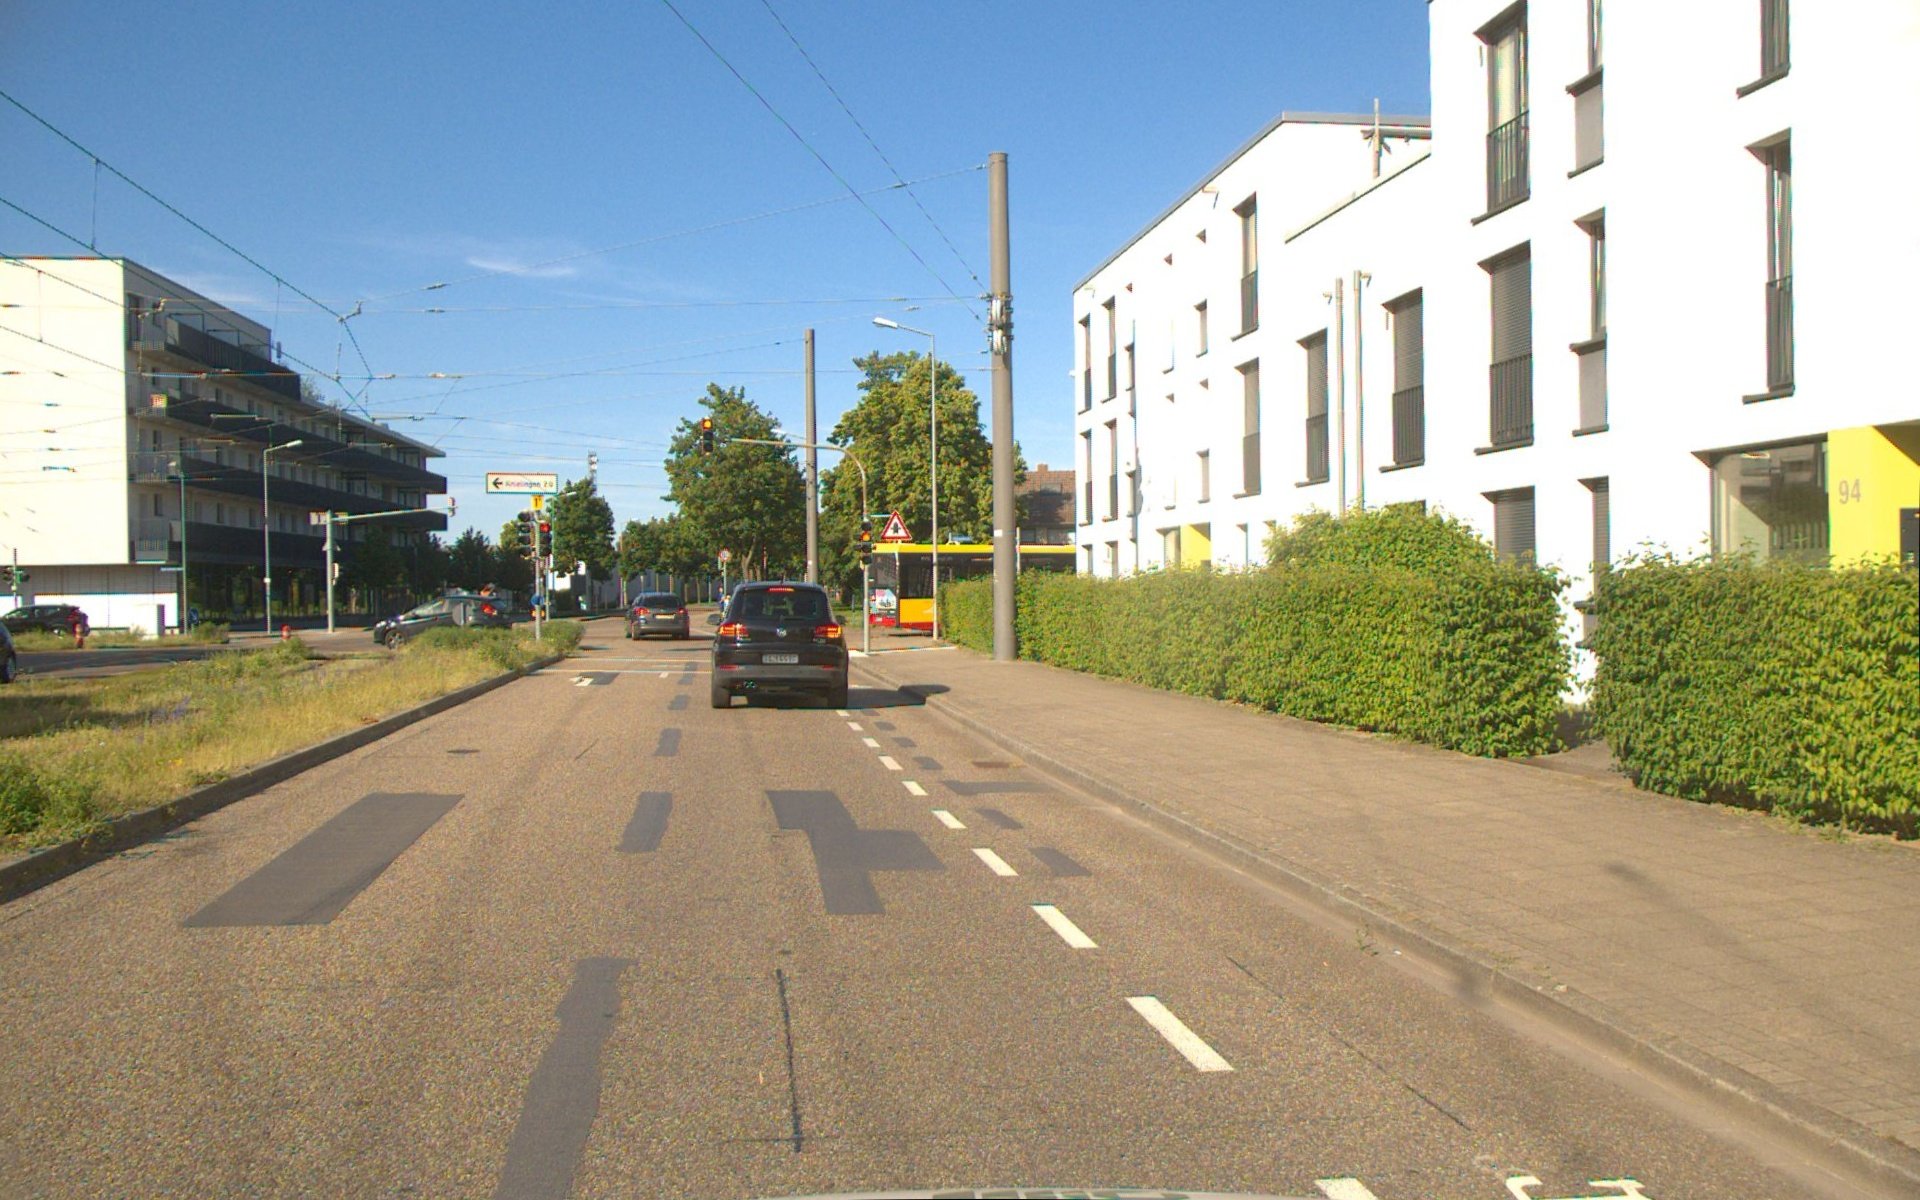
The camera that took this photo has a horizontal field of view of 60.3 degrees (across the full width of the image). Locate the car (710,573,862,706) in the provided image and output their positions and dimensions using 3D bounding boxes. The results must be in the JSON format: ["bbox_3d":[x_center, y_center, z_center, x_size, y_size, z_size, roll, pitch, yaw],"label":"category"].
[{"bbox_3d":[-2.504,0.496,23.044,1.870,1.671,3.991,1,0,-9],"label":"car"}]

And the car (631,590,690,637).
[{"bbox_3d":[-9.462,0.405,52.469,1.719,1.411,3.991,1,0,-9],"label":"car"}]

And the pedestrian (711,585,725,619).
[{"bbox_3d":[-11.819,0.088,80.891,0.591,1.668,0.528,1,0,-4],"label":"pedestrian"}]

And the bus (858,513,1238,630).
[{"bbox_3d":[3.415,-0.860,58.251,14.495,3.735,2.816,1,0,-33],"label":"bus"}]

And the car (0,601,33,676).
[{"bbox_3d":[-19.236,0.775,31.080,1.754,1.443,3.993,-2,1,-7],"label":"car"}]

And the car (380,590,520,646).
[{"bbox_3d":[-14.892,0.509,48.445,3.661,1.455,1.704,-2,1,-11],"label":"car"}]

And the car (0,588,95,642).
[{"bbox_3d":[-37.176,0.592,66.549,3.957,2.049,1.974,-1,0,-37],"label":"car"}]
